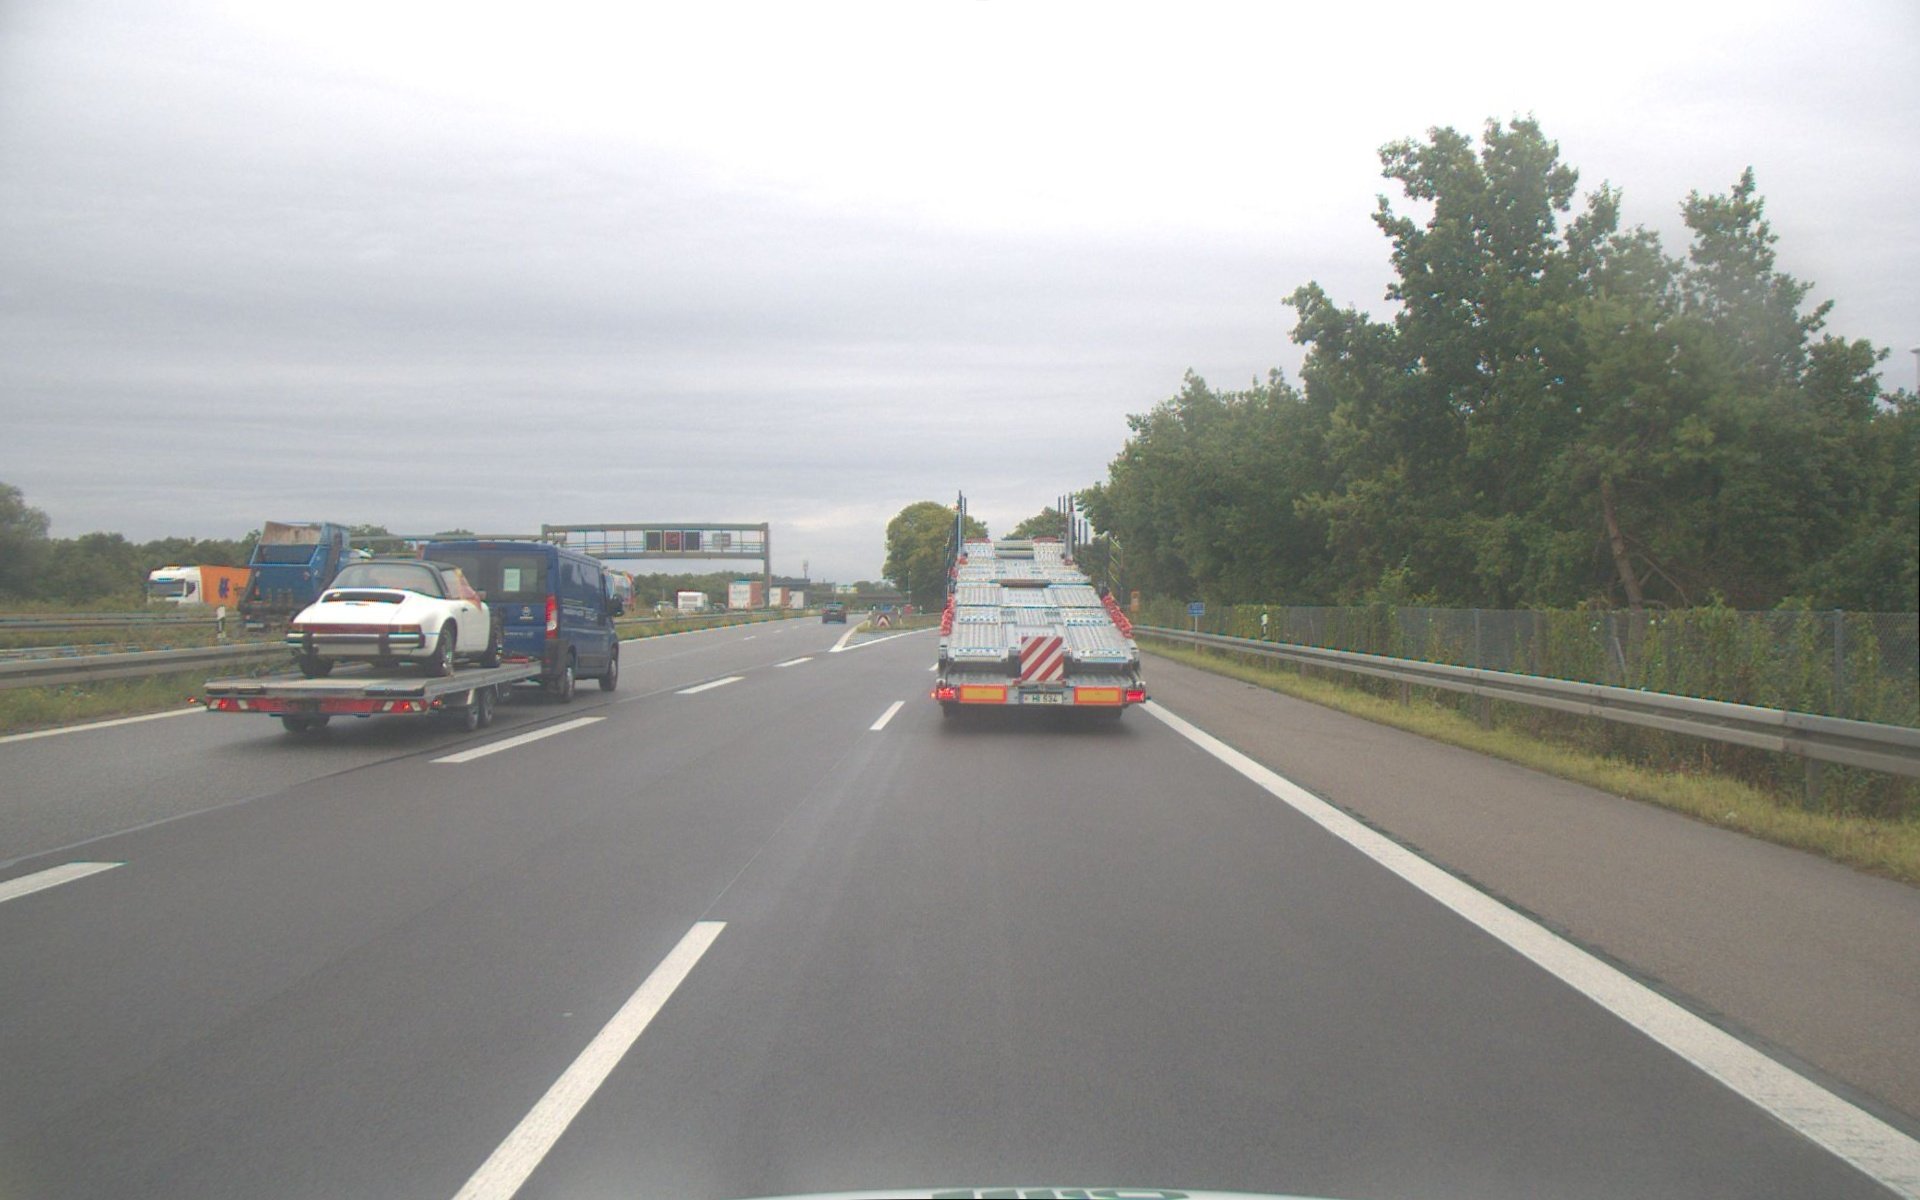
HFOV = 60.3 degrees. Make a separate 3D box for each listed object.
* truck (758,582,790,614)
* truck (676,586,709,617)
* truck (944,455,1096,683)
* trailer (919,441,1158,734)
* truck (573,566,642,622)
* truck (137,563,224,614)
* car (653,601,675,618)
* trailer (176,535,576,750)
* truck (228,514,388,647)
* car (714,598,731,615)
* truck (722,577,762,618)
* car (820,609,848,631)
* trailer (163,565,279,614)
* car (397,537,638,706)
[{"bbox_3d":[-27.073,-0.296,240.853,3.658,4.494,11.891,1,0,-2],"label":"truck"},{"bbox_3d":[-23.917,0.141,148.001,2.198,2.751,5.277,1,0,-2],"label":"truck"},{"bbox_3d":[1.100,-0.564,34.206,2.682,4.037,9.128,1,0,0],"label":"truck"},{"bbox_3d":[0.996,-0.152,24.363,2.720,3.342,10.408,1,0,1],"label":"trailer"},{"bbox_3d":[-22.309,-0.361,105.020,2.799,3.424,8.627,1,0,-2],"label":"truck"},{"bbox_3d":[-49.677,-0.688,105.547,2.631,3.127,6.452,1,-1,-2],"label":"truck"},{"bbox_3d":[-28.590,0.875,159.626,1.649,1.557,3.996,1,0,-5],"label":"car"},{"bbox_3d":[-6.430,0.422,19.437,2.435,2.029,7.059,1,0,-3],"label":"trailer"},{"bbox_3d":[-20.450,-0.530,52.366,2.586,3.879,7.336,1,-1,-4],"label":"truck"},{"bbox_3d":[-29.902,0.864,208.217,1.695,2.049,3.998,1,-1,-2],"label":"car"},{"bbox_3d":[-25.464,-0.284,193.656,3.658,4.494,10.190,1,0,-2],"label":"truck"},{"bbox_3d":[-9.665,1.538,127.391,1.922,1.666,5.622,1,-1,-2],"label":"car"},{"bbox_3d":[-49.933,-0.618,112.215,2.631,3.127,12.560,1,-1,-2],"label":"trailer"},{"bbox_3d":[-6.740,0.304,26.069,2.325,2.306,6.253,1,0,-3],"label":"car"}]
